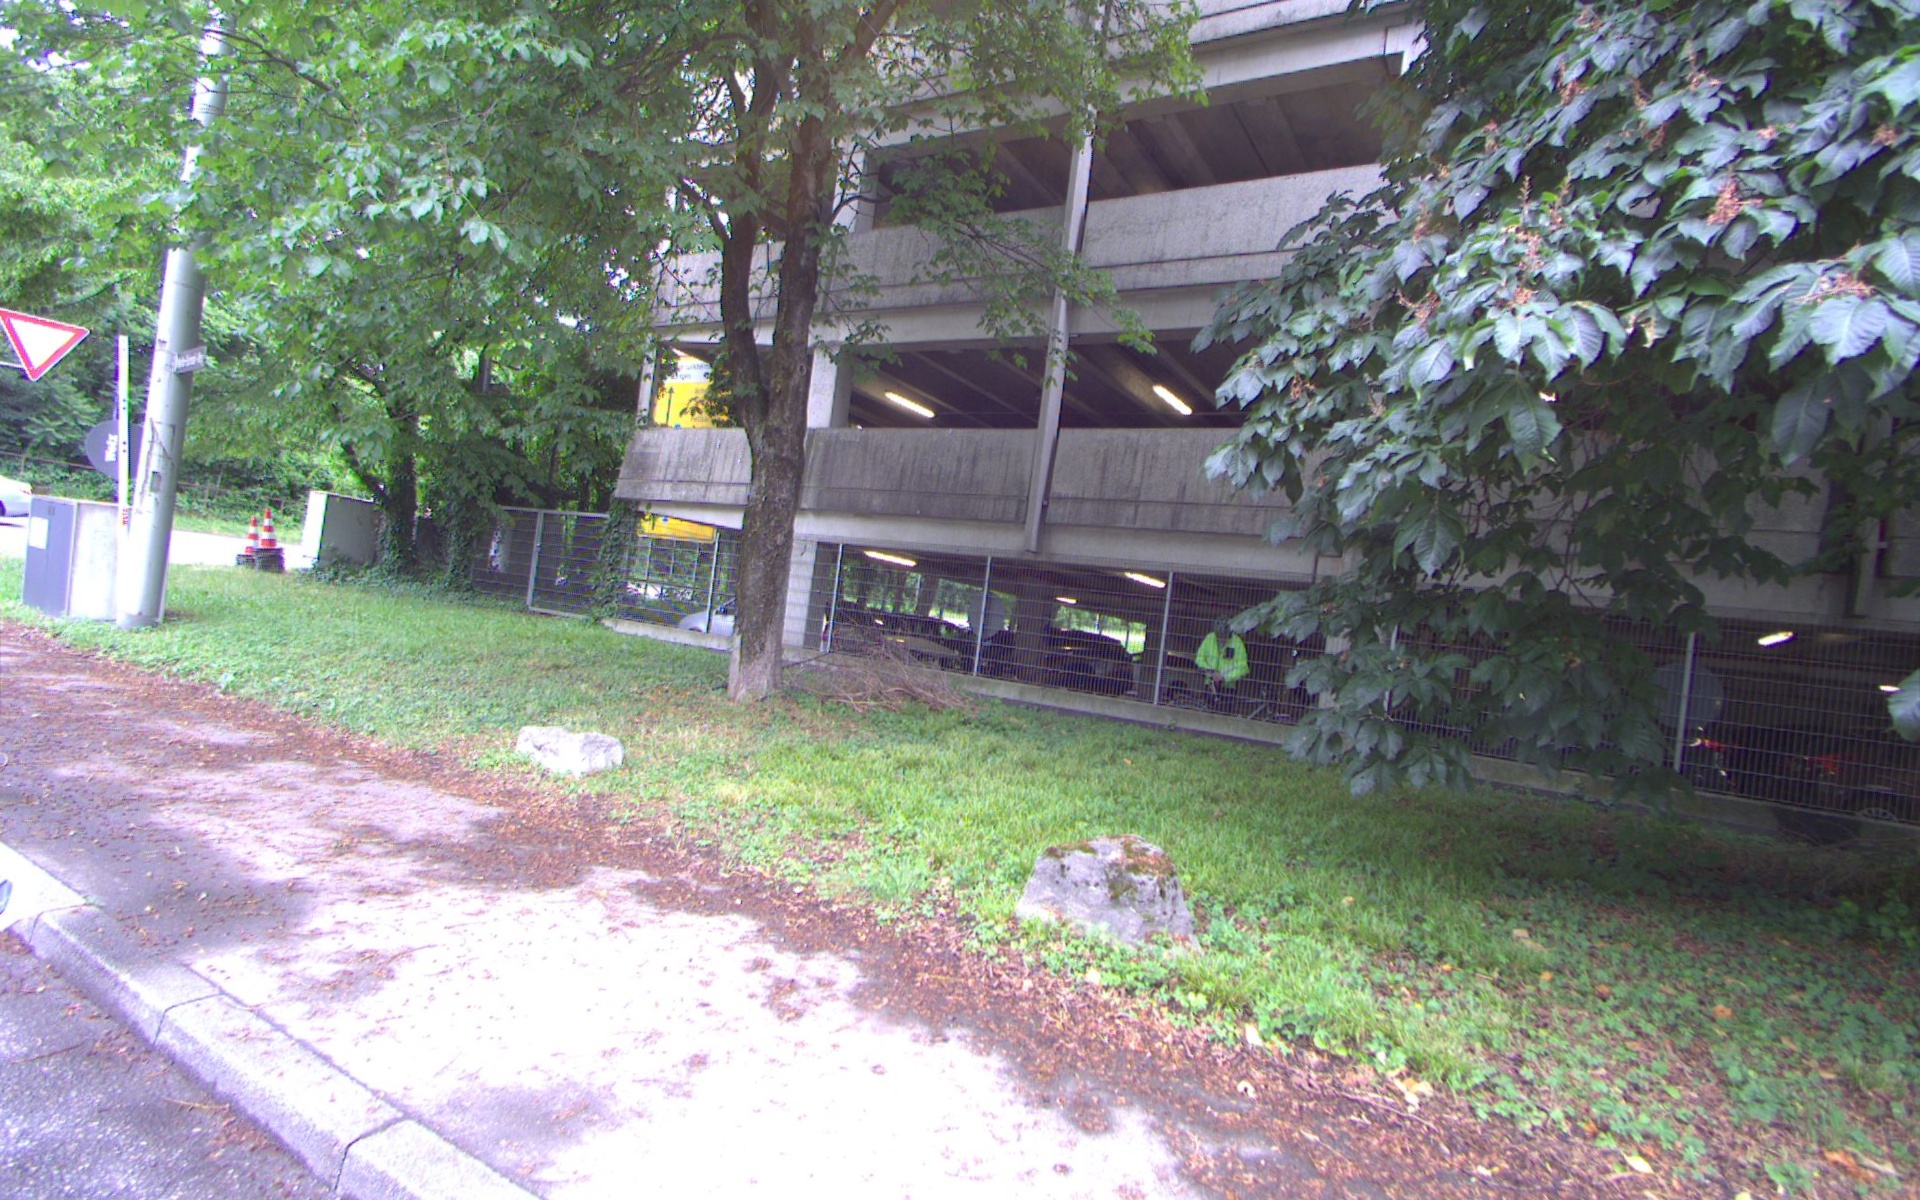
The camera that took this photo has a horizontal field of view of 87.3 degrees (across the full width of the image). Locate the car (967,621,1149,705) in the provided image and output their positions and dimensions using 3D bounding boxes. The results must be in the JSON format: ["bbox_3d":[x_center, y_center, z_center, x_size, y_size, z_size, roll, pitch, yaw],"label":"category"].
[{"bbox_3d":[2.431,1.559,25.156,3.934,1.569,1.998,5,-3,32],"label":"car"}]

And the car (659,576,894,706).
[{"bbox_3d":[-3.119,0.664,16.900,3.658,1.727,1.484,5,-3,32],"label":"car"}]

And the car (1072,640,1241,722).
[{"bbox_3d":[6.131,2.530,31.556,4.658,1.855,1.923,6,-3,33],"label":"car"}]

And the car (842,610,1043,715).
[{"bbox_3d":[-0.380,1.288,20.882,3.658,1.682,1.734,5,-3,32],"label":"car"}]

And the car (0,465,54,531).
[{"bbox_3d":[-23.561,-2.670,22.306,1.802,1.349,4.763,10,-1,29],"label":"car"}]

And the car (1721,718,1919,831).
[{"bbox_3d":[16.594,3.248,18.654,3.640,1.625,1.721,5,-3,30],"label":"car"}]

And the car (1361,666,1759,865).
[{"bbox_3d":[8.614,2.295,14.838,4.597,2.036,1.998,5,-3,31],"label":"car"}]

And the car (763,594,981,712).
[{"bbox_3d":[-1.673,0.980,18.826,3.707,1.727,1.584,5,-3,32],"label":"car"}]

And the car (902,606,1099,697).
[{"bbox_3d":[0.917,1.186,23.219,3.934,1.569,1.998,5,-3,32],"label":"car"}]

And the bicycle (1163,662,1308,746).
[{"bbox_3d":[3.113,1.170,11.381,1.469,0.744,0.448,6,-3,24],"label":"bicycle"}]

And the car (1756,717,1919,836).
[{"bbox_3d":[15.605,2.996,16.519,3.640,1.625,1.721,5,-3,30],"label":"car"}]

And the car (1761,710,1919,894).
[{"bbox_3d":[12.665,2.659,12.471,3.935,2.036,1.998,5,-3,33],"label":"car"}]

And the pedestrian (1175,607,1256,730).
[{"bbox_3d":[2.977,0.806,11.692,0.626,1.332,0.642,5,-3,31],"label":"pedestrian"}]
